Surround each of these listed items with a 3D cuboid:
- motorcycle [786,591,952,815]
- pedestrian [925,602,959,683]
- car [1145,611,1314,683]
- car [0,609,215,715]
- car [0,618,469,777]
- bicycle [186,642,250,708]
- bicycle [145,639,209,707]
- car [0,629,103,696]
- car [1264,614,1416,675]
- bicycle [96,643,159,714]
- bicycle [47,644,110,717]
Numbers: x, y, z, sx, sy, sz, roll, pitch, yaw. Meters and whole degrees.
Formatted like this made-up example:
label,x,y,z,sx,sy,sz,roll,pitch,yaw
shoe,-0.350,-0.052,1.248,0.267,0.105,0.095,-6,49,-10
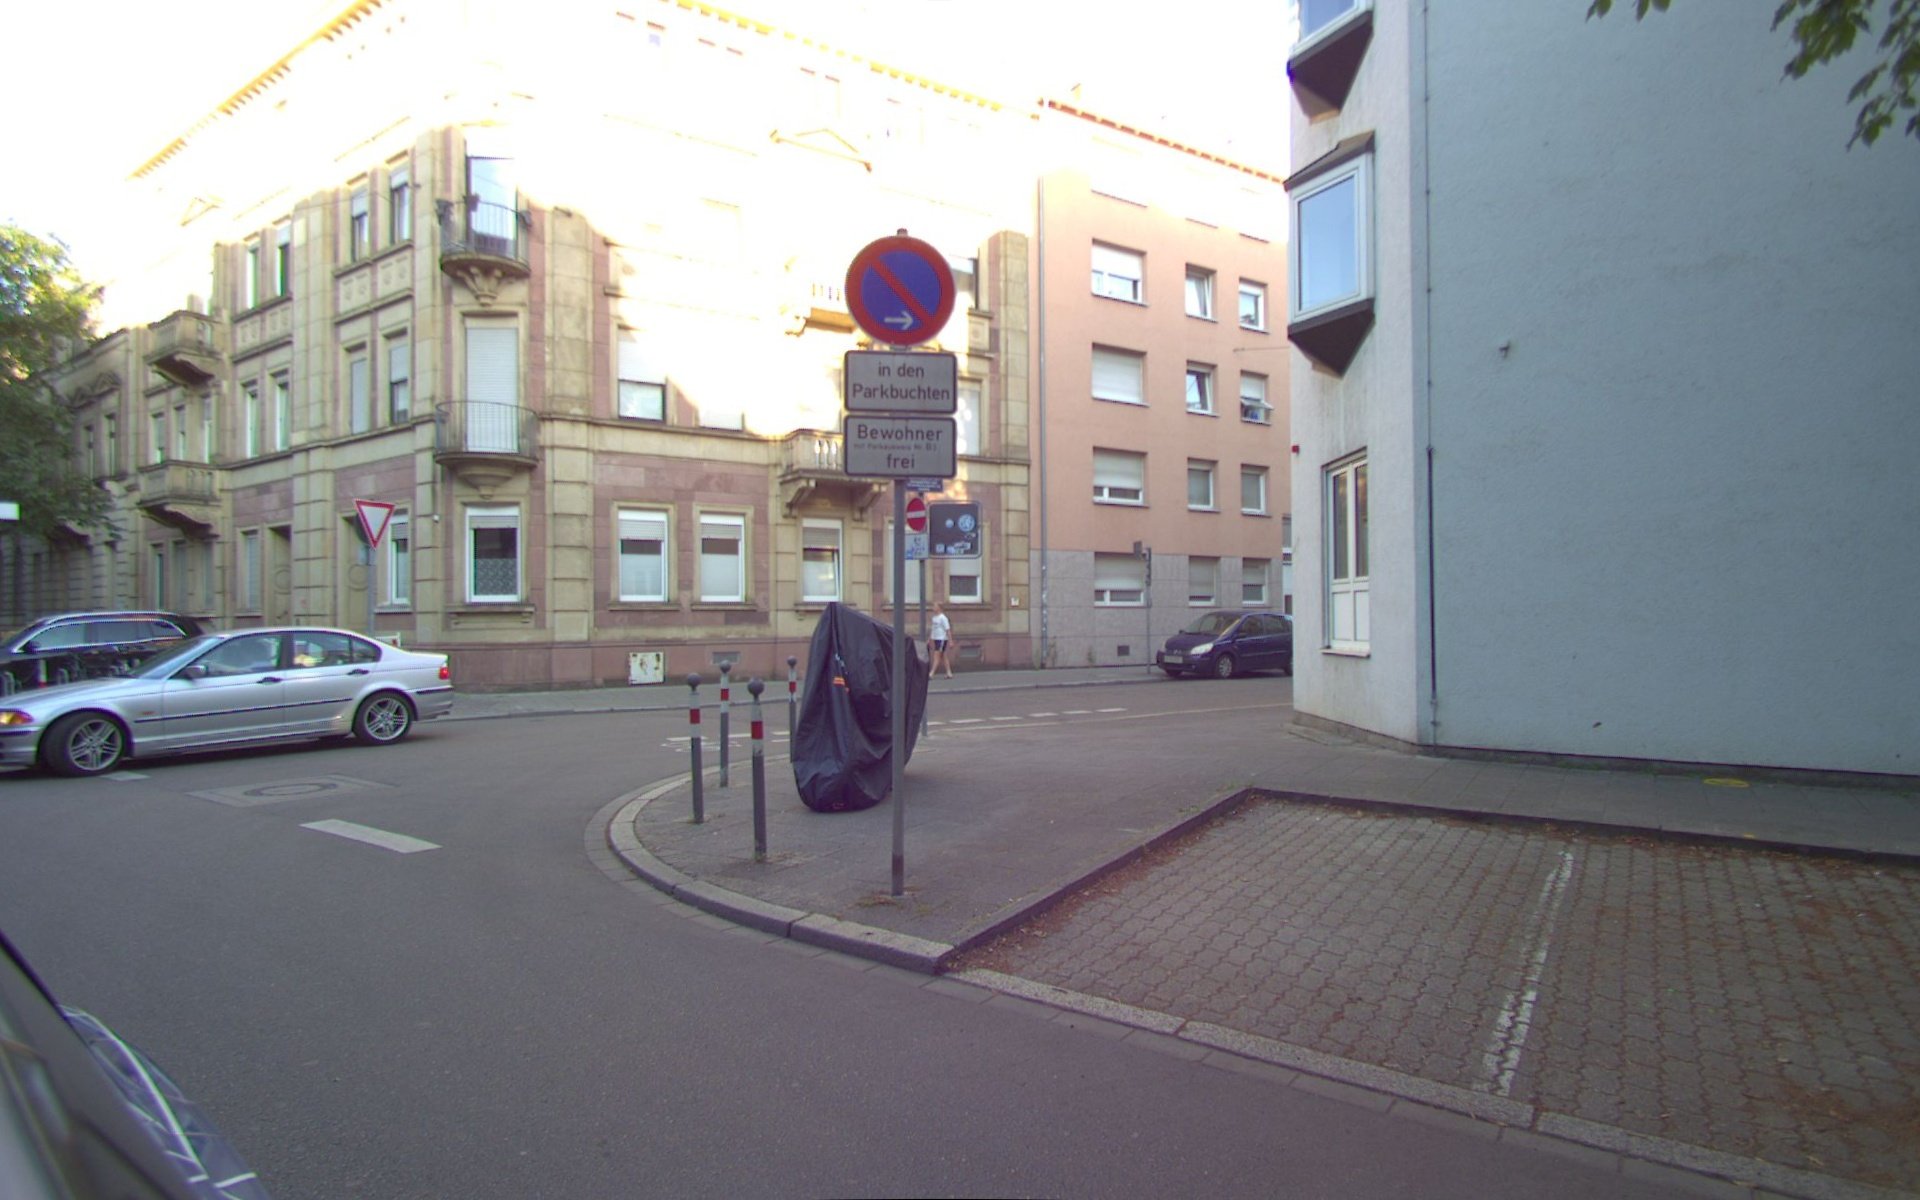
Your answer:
label,x,y,z,sx,sy,sz,roll,pitch,yaw
motorcycle,-0.666,0.751,8.240,0.663,1.567,2.152,-1,-1,14
pedestrian,-0.403,0.931,22.464,0.559,1.757,0.552,1,-2,-34
car,6.593,1.104,24.675,3.985,1.637,1.700,0,-2,-32
car,-16.713,1.091,18.603,1.773,1.751,4.536,0,1,36
car,-8.006,0.960,11.132,1.680,1.414,4.413,-4,-4,38
bicycle,-13.389,1.325,18.239,1.866,1.097,0.360,0,1,36
bicycle,-13.729,1.258,17.736,1.866,1.097,0.360,0,1,36
car,-22.773,1.447,23.287,1.773,1.499,4.392,-2,-2,36
car,10.378,1.174,27.575,4.211,1.525,1.699,1,-2,-33
bicycle,-14.150,1.312,17.184,1.866,1.097,0.360,0,1,36
bicycle,-14.444,1.295,16.570,1.866,1.097,0.360,0,1,36
